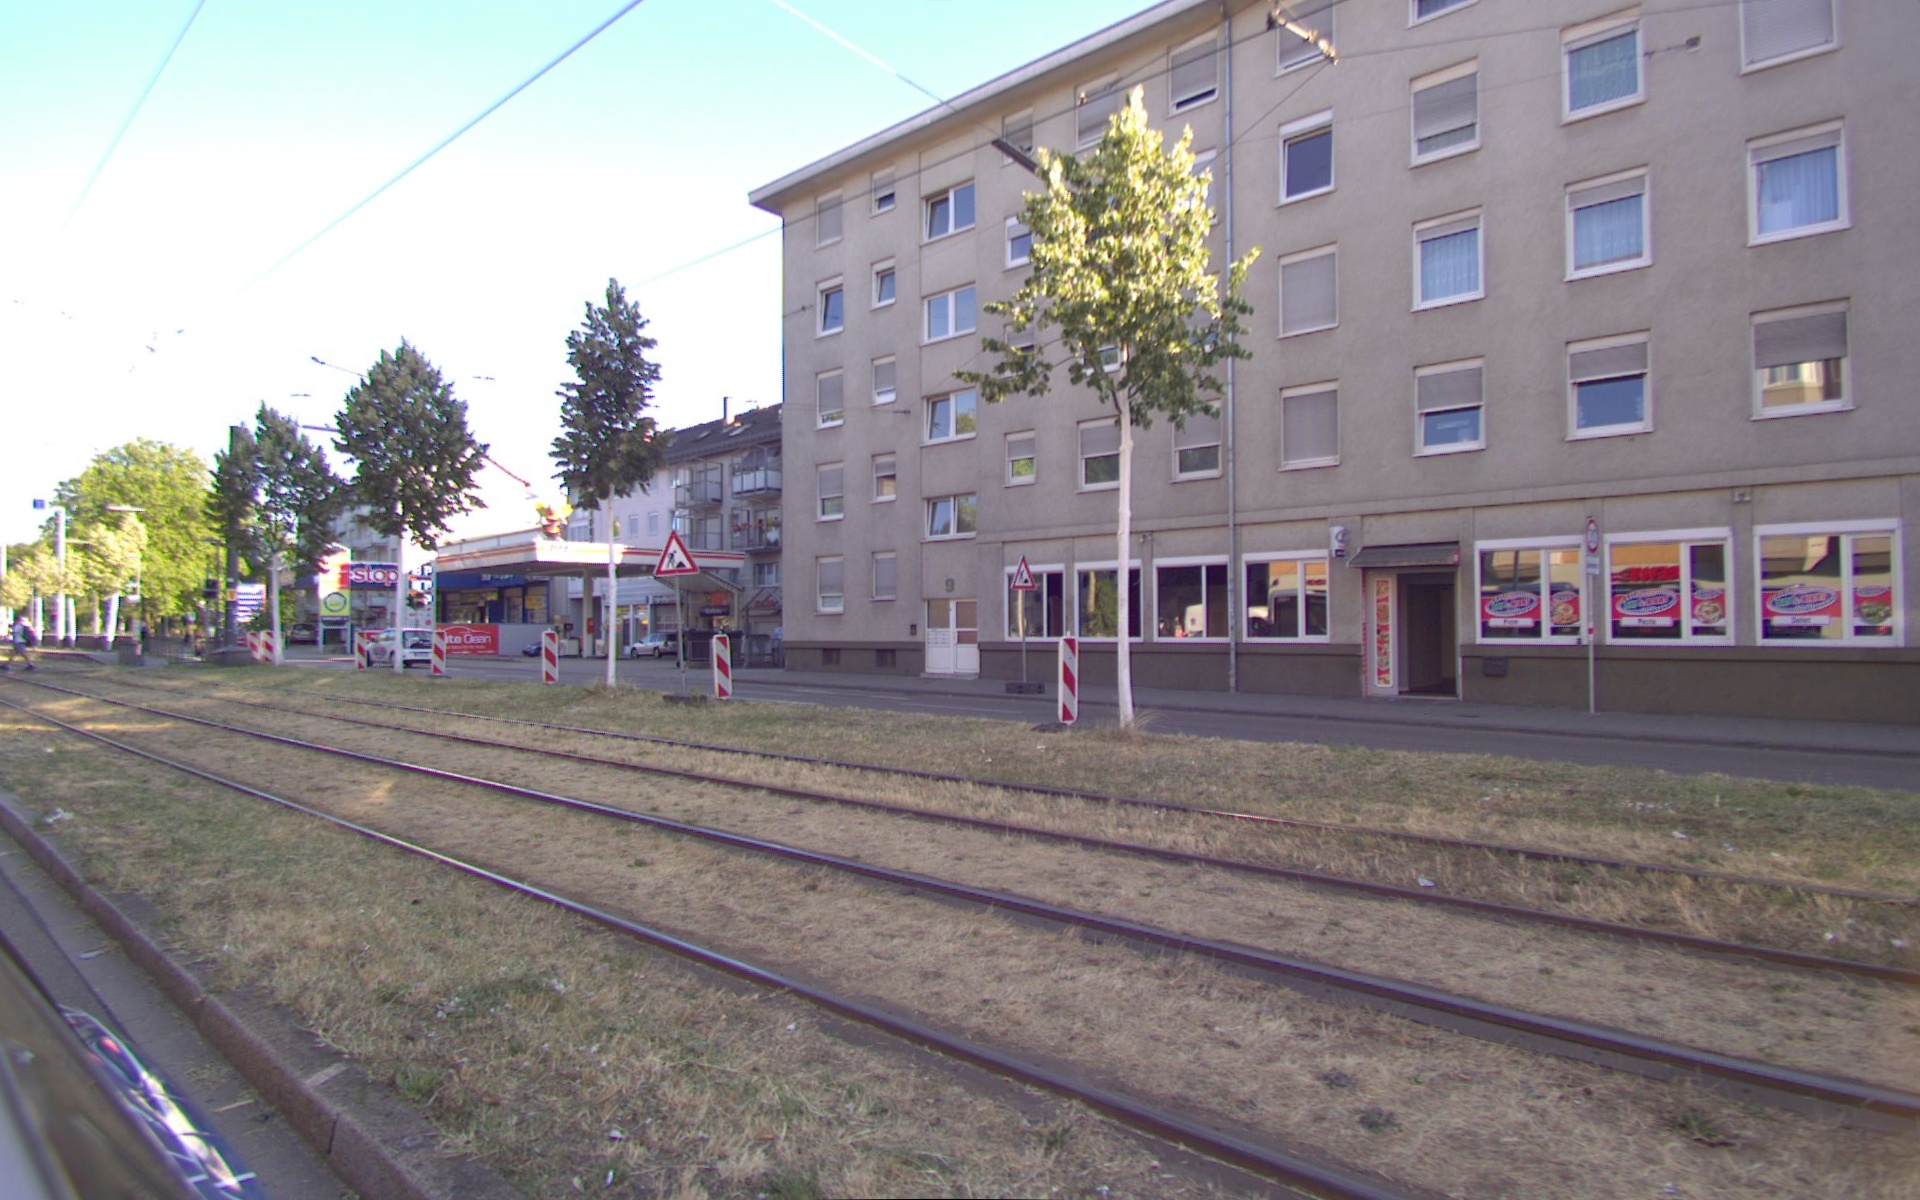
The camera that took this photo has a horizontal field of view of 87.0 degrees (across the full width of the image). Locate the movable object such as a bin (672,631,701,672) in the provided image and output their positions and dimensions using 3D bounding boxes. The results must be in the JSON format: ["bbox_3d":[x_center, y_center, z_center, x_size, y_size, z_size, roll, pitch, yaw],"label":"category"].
[{"bbox_3d":[-9.525,1.774,35.237,0.748,1.411,0.656,-2,-3,39],"label":"movable object such as a bin"}]

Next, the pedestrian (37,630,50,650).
[{"bbox_3d":[-89.328,3.882,98.638,0.999,1.896,0.745,-2,0,40],"label":"pedestrian"}]

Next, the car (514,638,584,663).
[{"bbox_3d":[-26.349,3.219,64.872,1.818,1.535,3.752,-2,-2,44],"label":"car"}]

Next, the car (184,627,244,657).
[{"bbox_3d":[-41.085,2.284,55.693,4.935,1.572,1.792,-1,-2,44],"label":"car"}]

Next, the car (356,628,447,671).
[{"bbox_3d":[-20.991,1.839,37.965,3.828,1.523,1.793,-1,-3,42],"label":"car"}]

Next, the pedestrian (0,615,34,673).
[{"bbox_3d":[-31.977,1.474,34.206,0.754,1.947,0.849,-2,-2,38],"label":"pedestrian"}]

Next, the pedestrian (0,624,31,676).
[{"bbox_3d":[-32.589,1.703,34.839,0.859,1.760,0.746,-2,-2,38],"label":"pedestrian"}]

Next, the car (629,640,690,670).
[{"bbox_3d":[-17.283,3.143,58.155,1.790,1.535,3.832,-1,0,-43],"label":"car"}]
